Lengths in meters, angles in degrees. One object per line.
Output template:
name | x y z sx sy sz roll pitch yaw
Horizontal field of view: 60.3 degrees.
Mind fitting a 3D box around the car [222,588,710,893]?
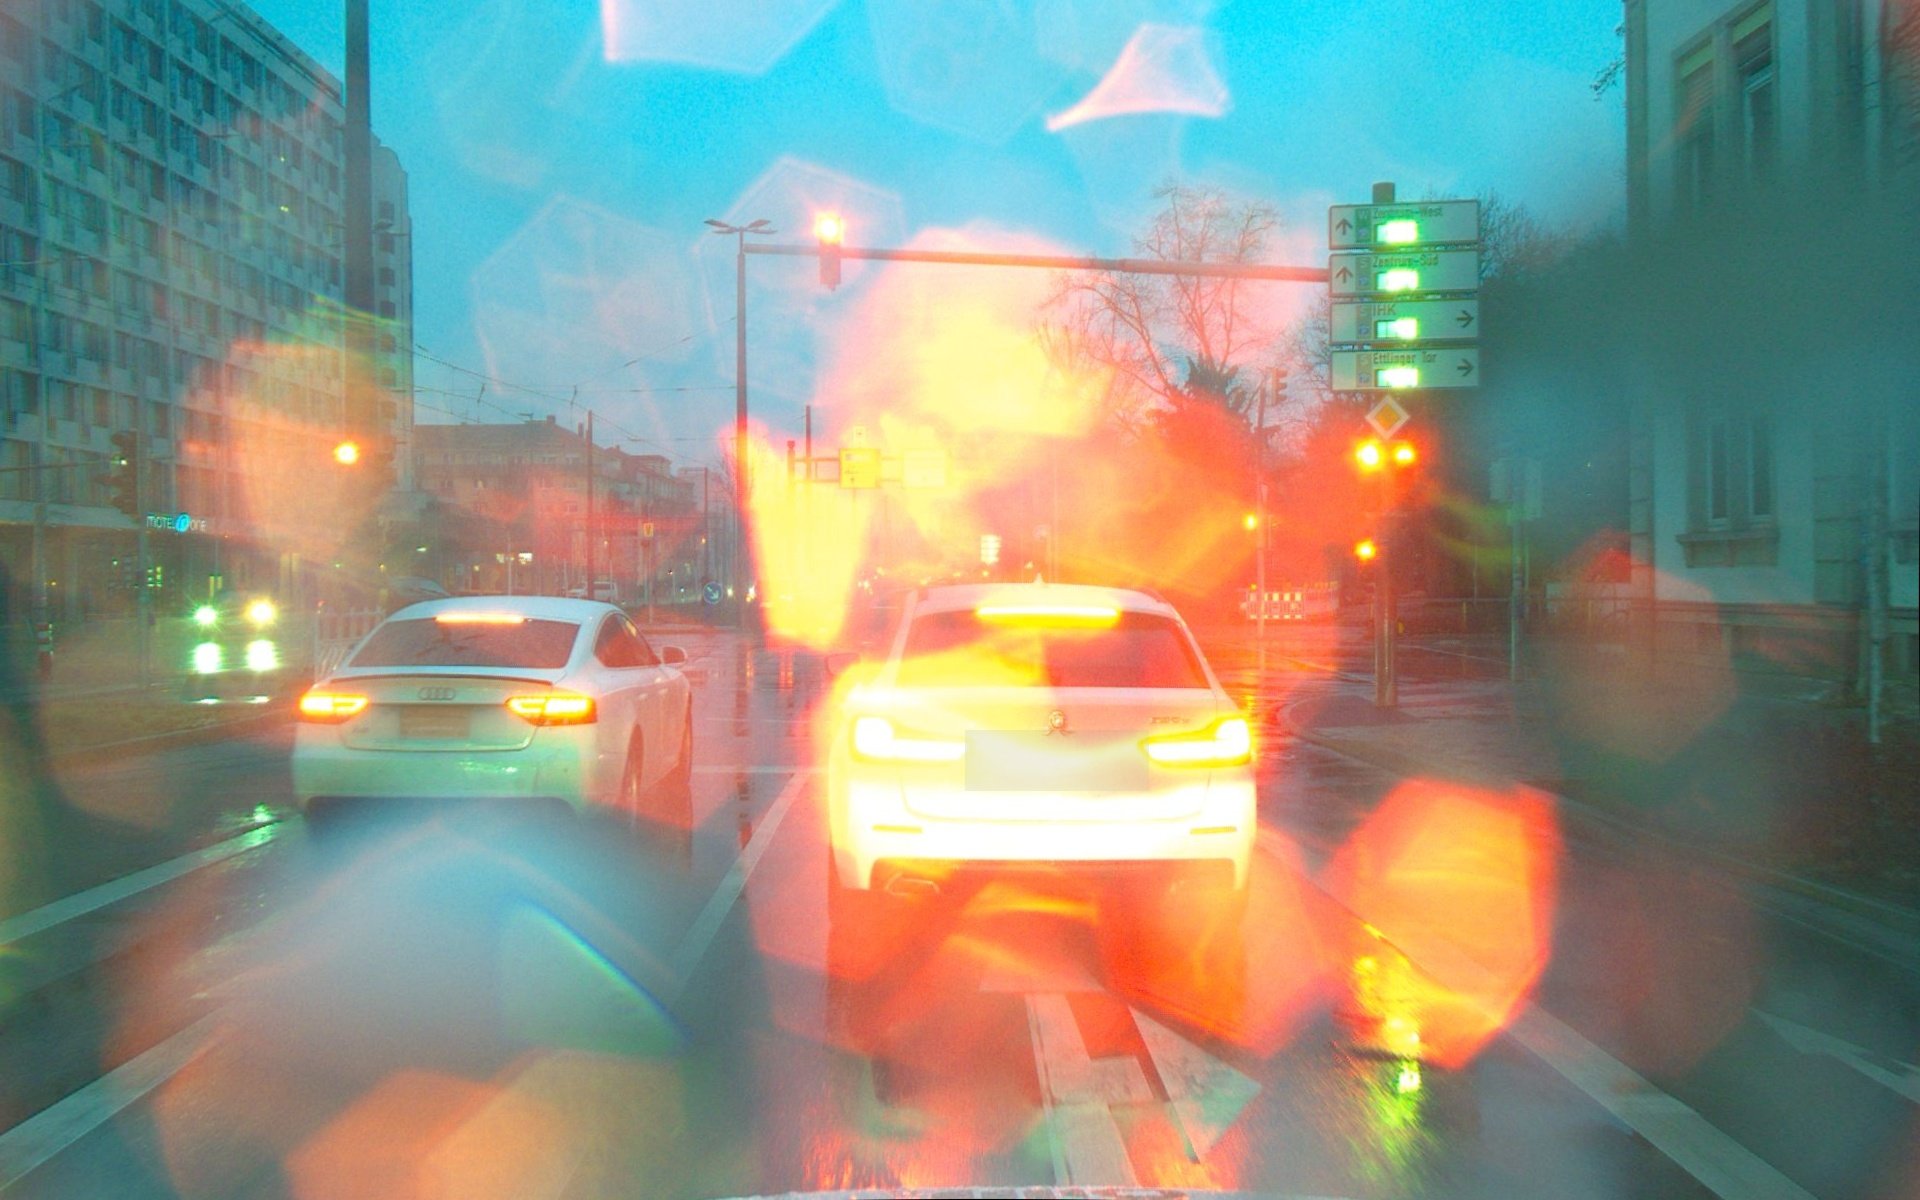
car | -2.785 0.681 10.430 1.954 1.481 4.366 0 1 -3

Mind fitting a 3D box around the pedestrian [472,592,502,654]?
pedestrian | -13.598 0.655 47.546 0.778 1.741 0.809 1 -1 -16

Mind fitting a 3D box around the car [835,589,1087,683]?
car | 0.030 0.671 32.440 4.598 1.750 1.869 0 -1 19

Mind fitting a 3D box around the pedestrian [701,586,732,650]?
pedestrian | -7.349 0.540 49.959 0.886 1.888 0.810 1 -1 -10

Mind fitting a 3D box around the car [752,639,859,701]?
car | -4.421 1.982 47.913 1.804 1.637 3.947 1 0 15

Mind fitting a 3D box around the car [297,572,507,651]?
car | -12.945 0.262 38.355 4.603 1.750 1.900 0 -1 26

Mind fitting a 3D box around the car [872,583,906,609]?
car | -4.183 -0.274 97.155 1.954 1.481 4.366 0 1 -3

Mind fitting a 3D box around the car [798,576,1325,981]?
car | 0.279 0.625 8.288 1.954 1.481 4.366 0 1 -3

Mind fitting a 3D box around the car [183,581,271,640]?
car | -20.620 0.289 46.440 1.739 1.557 4.282 1 0 -31
